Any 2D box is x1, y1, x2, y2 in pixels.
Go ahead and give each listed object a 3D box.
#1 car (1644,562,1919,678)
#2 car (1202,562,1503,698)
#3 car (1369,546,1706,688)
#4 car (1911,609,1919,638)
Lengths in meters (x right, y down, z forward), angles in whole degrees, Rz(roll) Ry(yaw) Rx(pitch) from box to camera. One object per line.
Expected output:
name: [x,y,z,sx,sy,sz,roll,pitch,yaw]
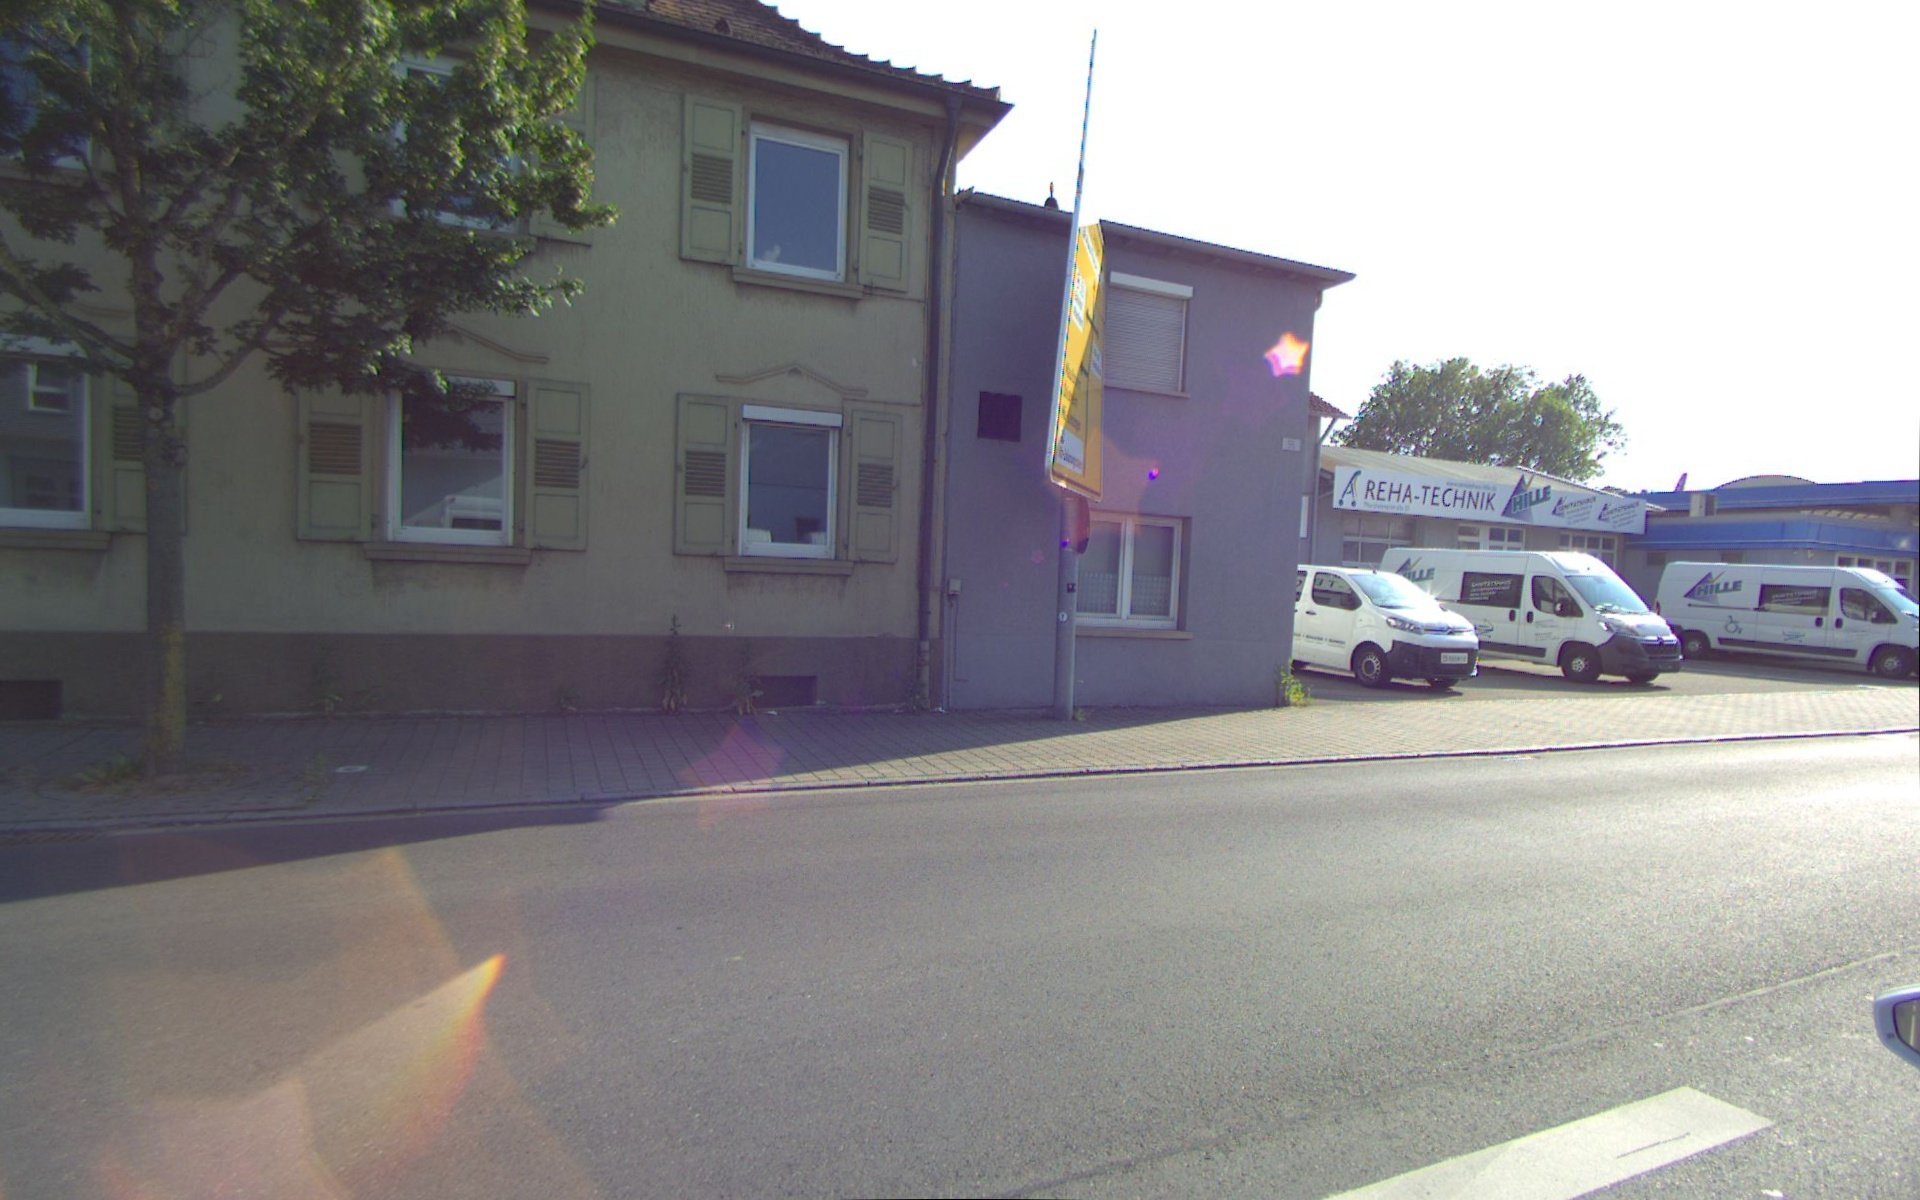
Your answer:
car: [20.702,0.366,24.603,2.221,2.478,6.133,1,2,-28]
car: [6.688,0.391,17.820,1.909,2.026,4.959,1,2,-25]
car: [11.677,0.204,20.977,2.163,2.513,5.903,0,2,-24]
car: [50.291,1.248,50.804,1.430,1.447,3.119,0,1,-45]
